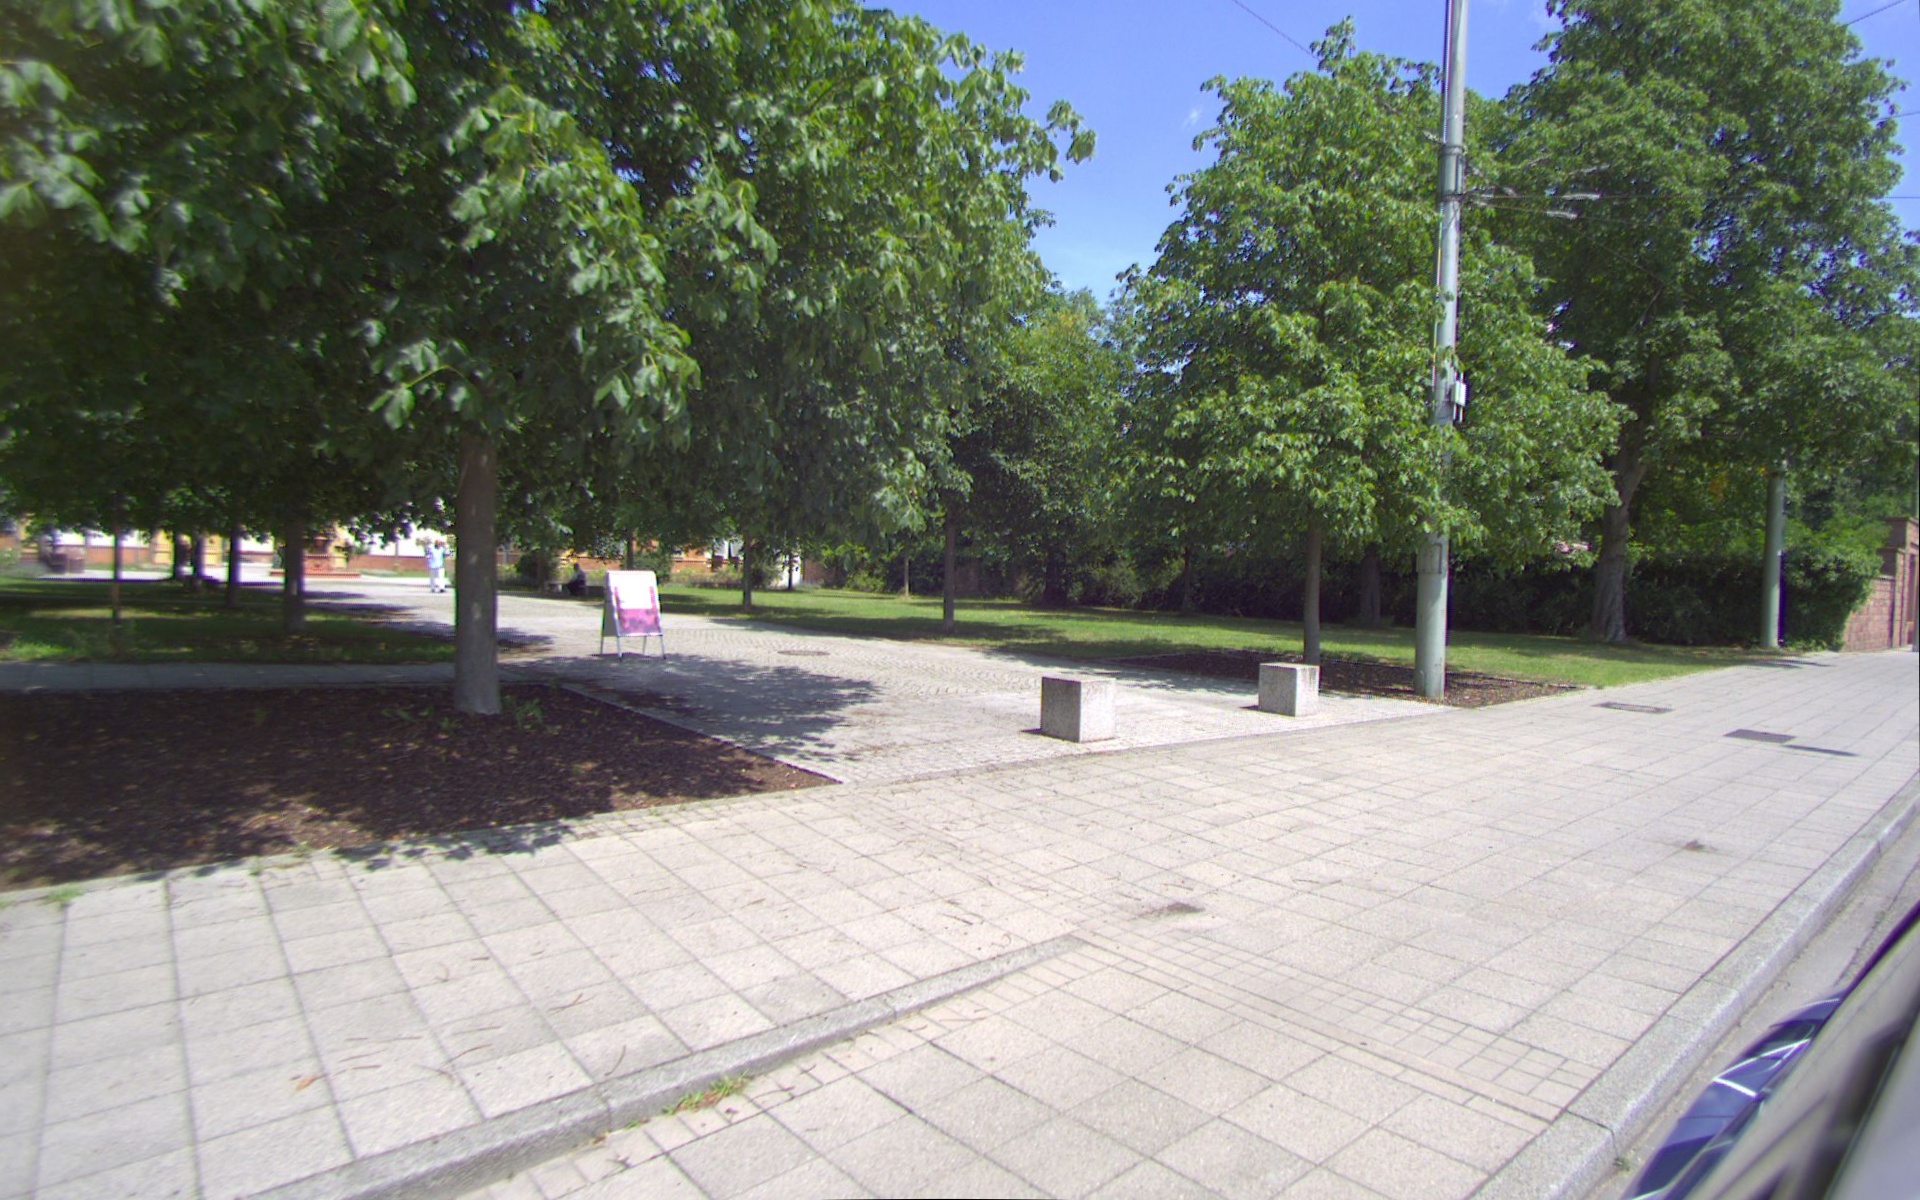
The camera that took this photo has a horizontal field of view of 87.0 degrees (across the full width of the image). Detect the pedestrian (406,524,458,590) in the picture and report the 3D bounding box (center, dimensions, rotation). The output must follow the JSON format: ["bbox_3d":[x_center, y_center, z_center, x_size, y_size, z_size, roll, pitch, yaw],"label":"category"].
[{"bbox_3d":[-17.085,-1.390,32.764,0.820,2.037,1.242,5,4,37],"label":"pedestrian"}]
